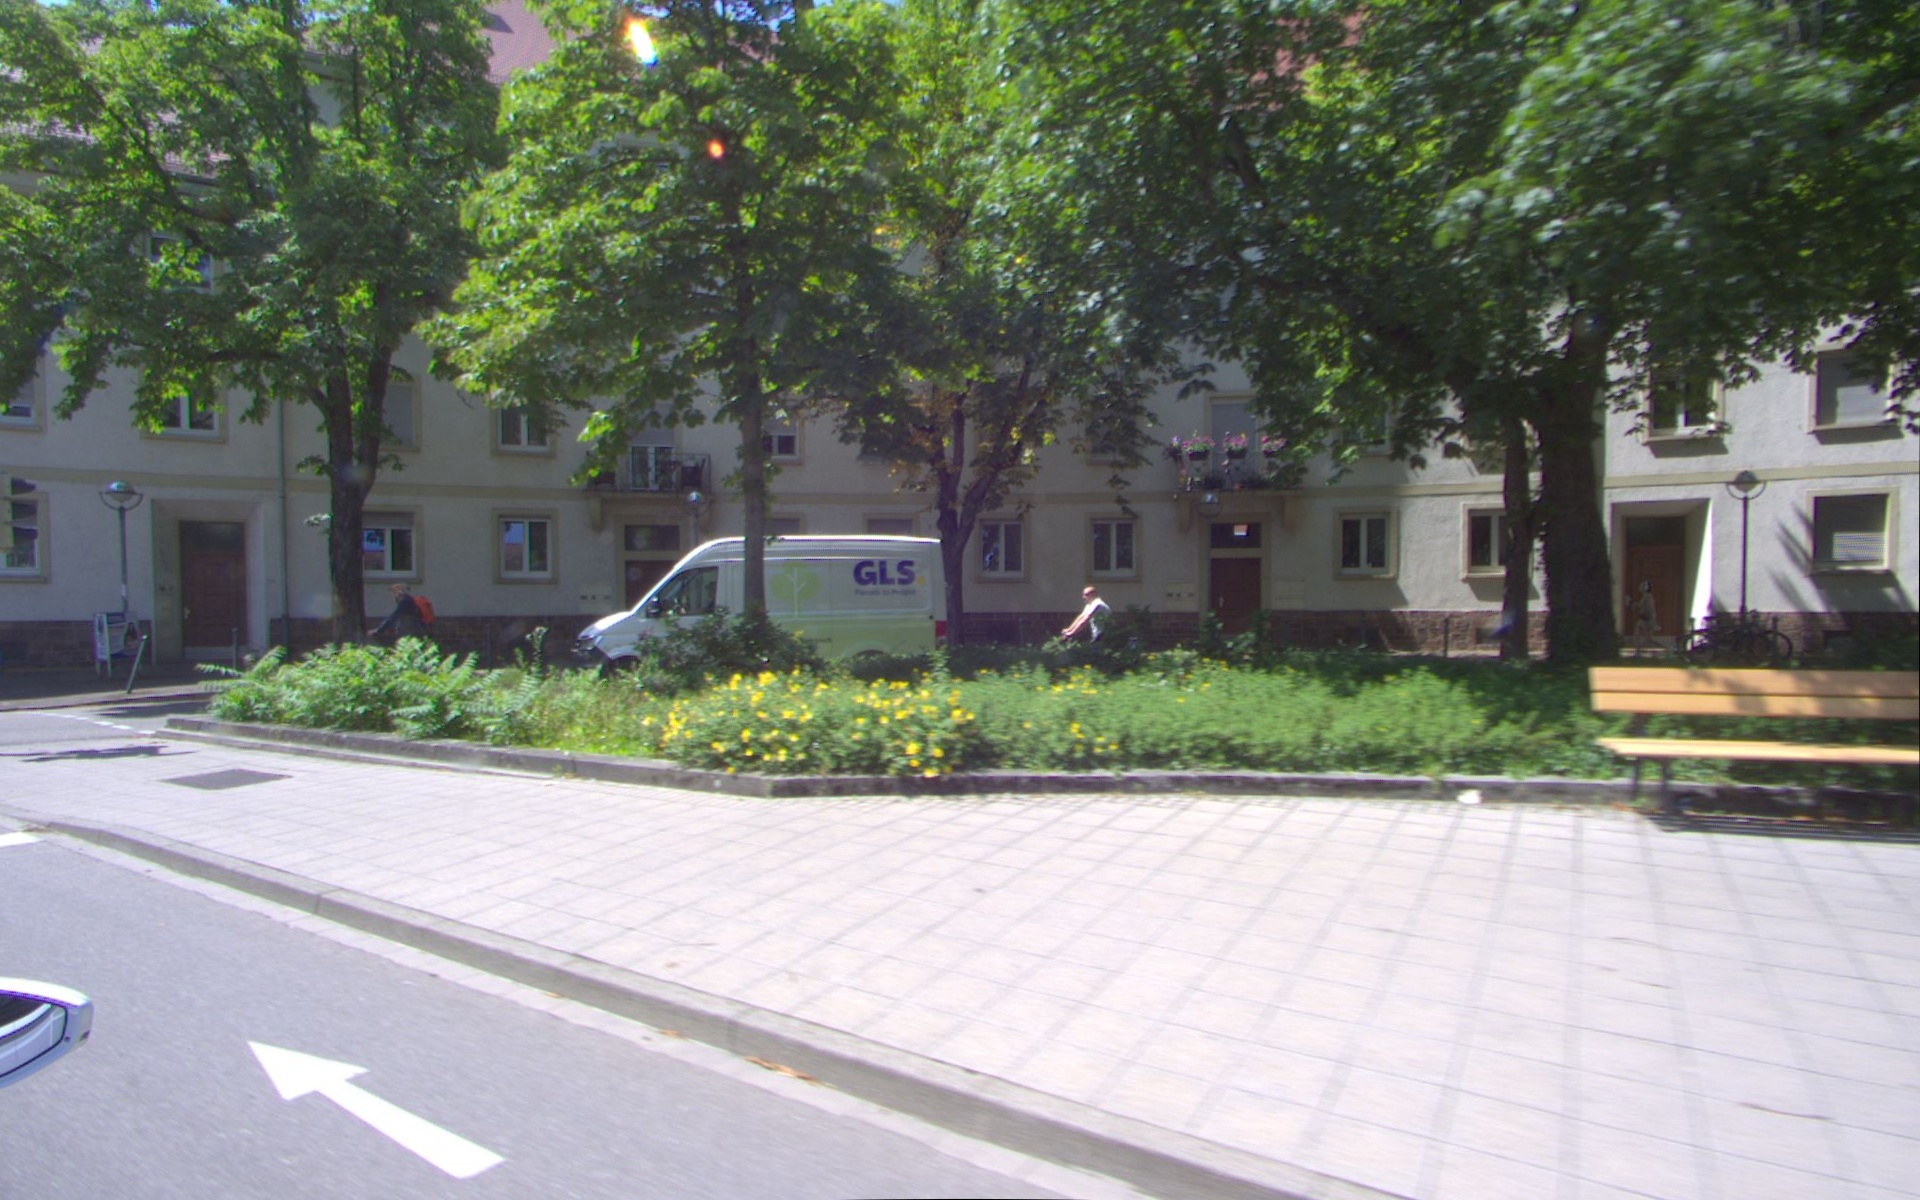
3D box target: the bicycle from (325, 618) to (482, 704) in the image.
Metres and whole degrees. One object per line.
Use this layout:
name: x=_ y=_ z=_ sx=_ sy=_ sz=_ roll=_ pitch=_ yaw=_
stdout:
bicycle: x=-8.466 y=0.909 z=15.339 sx=2.054 sy=1.253 sz=0.578 roll=0 pitch=0 yaw=-25

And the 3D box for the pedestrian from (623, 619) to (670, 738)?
pedestrian: x=-3.510 y=0.861 z=11.216 sx=0.345 sy=1.301 sz=0.365 roll=0 pitch=0 yaw=32

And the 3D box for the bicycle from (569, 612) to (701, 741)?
bicycle: x=-3.697 y=0.828 z=11.327 sx=1.808 sy=1.377 sz=0.351 roll=-1 pitch=0 yaw=32

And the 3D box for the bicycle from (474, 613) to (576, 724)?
bicycle: x=-4.678 y=0.729 z=10.744 sx=1.269 sy=1.141 sz=0.332 roll=-2 pitch=-1 yaw=32

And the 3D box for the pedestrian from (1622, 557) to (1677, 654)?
pedestrian: x=14.781 y=0.128 z=21.481 sx=0.759 sy=2.040 sz=0.806 roll=0 pitch=0 yaw=17

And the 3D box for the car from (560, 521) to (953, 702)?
car: x=-3.083 y=0.183 z=15.909 sx=5.739 sy=2.624 sz=1.999 roll=0 pitch=0 yaw=-7

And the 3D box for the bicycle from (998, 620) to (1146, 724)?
bicycle: x=1.652 y=1.054 z=14.918 sx=2.126 sy=1.505 sz=0.593 roll=0 pitch=0 yaw=-4

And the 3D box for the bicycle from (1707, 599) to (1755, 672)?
bicycle: x=15.142 y=0.679 z=19.646 sx=0.510 sy=1.365 sz=2.224 roll=0 pitch=-1 yaw=44

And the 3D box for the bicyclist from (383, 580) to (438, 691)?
bicyclist: x=-8.419 y=0.535 z=15.353 sx=0.685 sy=1.667 sz=0.578 roll=0 pitch=0 yaw=-24

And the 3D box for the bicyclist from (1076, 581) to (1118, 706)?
bicyclist: x=2.041 y=0.641 z=14.932 sx=0.524 sy=1.823 sz=0.604 roll=0 pitch=0 yaw=-2

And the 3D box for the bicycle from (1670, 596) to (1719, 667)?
bicycle: x=14.786 y=0.622 z=20.137 sx=0.510 sy=1.362 sz=2.308 roll=0 pitch=-1 yaw=44

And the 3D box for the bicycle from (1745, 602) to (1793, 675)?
bicycle: x=15.376 y=0.702 z=19.024 sx=0.541 sy=1.317 sz=2.139 roll=0 pitch=-1 yaw=44
